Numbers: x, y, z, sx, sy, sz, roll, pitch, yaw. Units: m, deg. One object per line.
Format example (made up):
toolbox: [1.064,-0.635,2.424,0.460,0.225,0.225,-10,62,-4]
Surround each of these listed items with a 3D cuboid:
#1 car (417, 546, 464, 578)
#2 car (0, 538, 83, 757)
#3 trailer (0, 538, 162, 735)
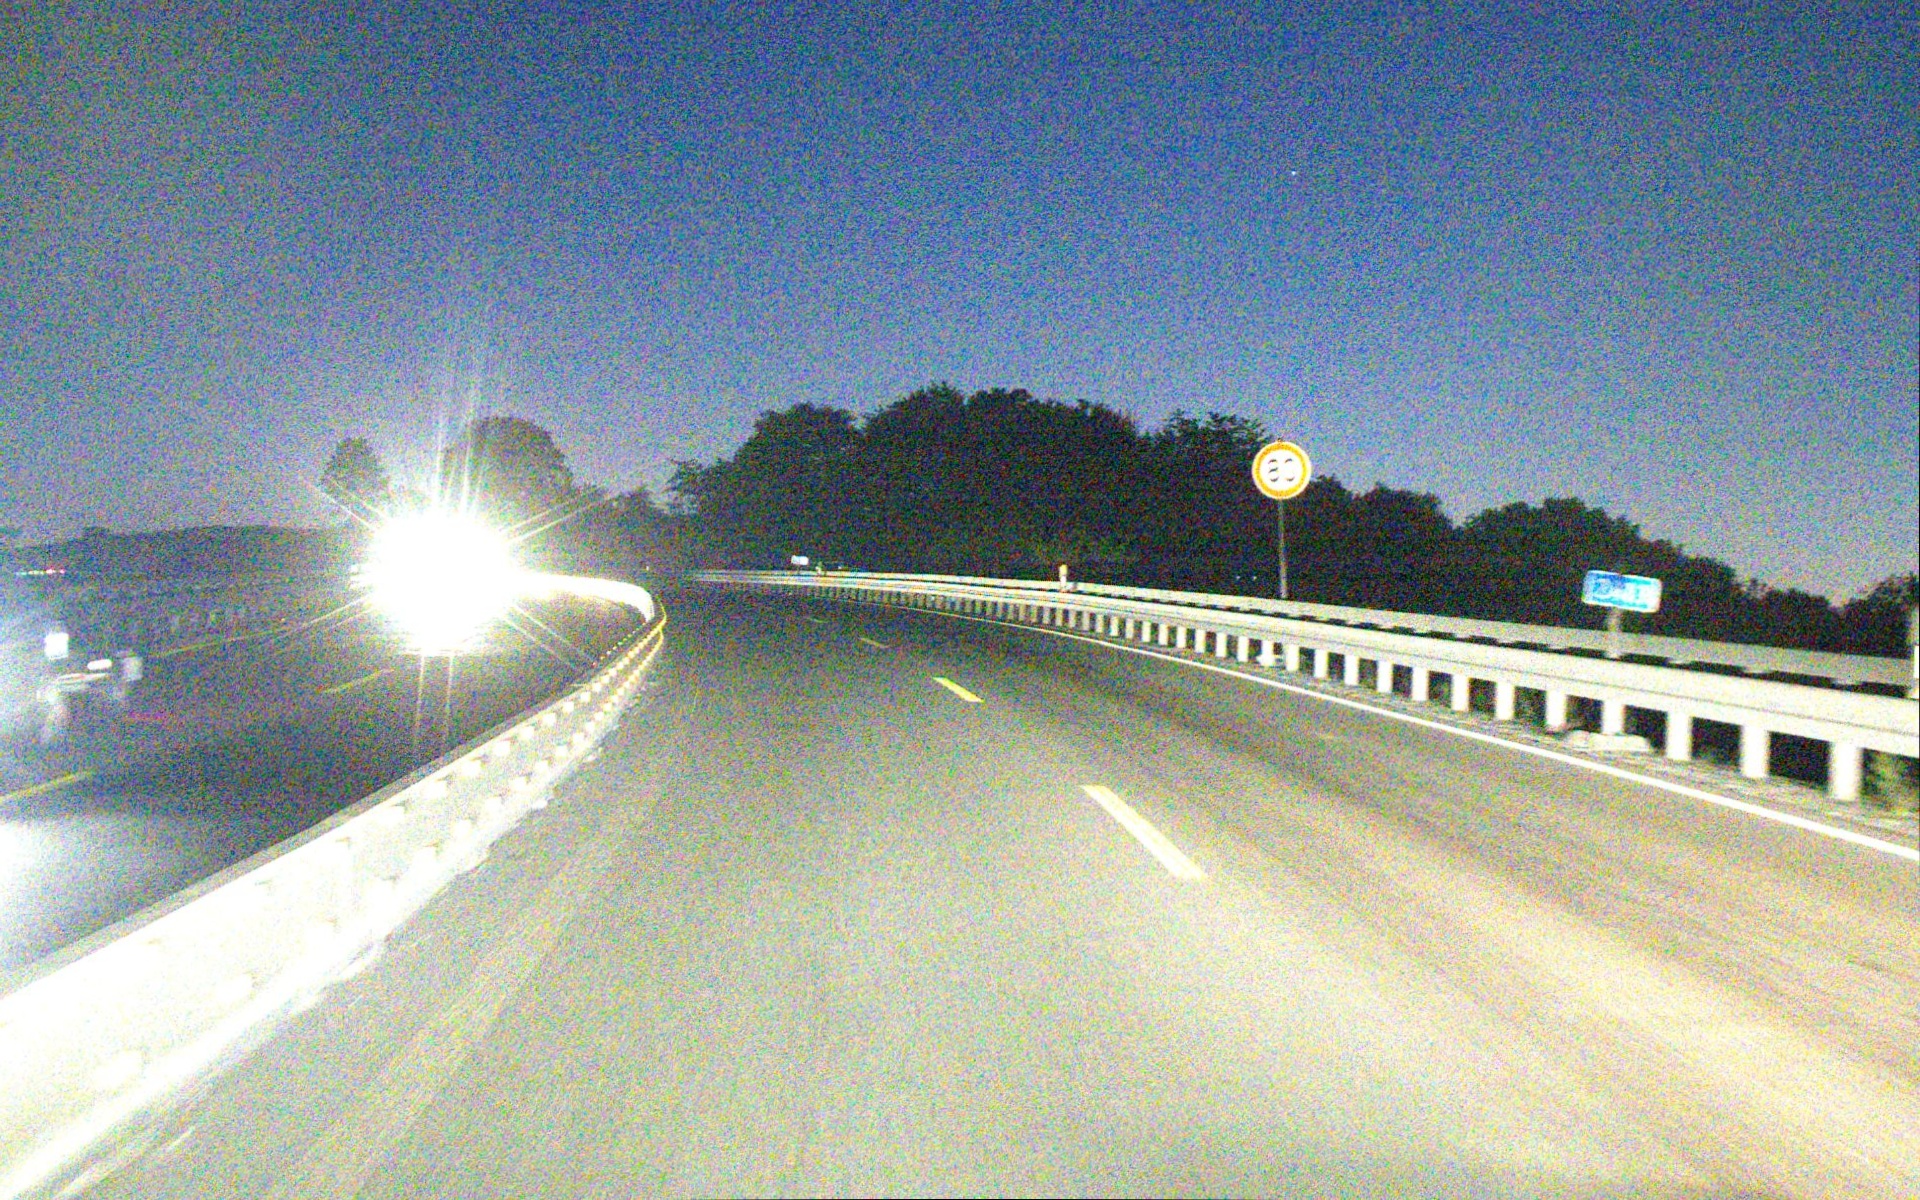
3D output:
car: [-25.314,-1.843,167.501,1.818,1.511,4.524,-1,0,-14]
car: [-7.274,0.327,22.708,1.912,1.421,4.953,-1,1,-3]
trailer: [-7.489,0.238,26.881,1.883,1.421,3.351,0,1,-3]
